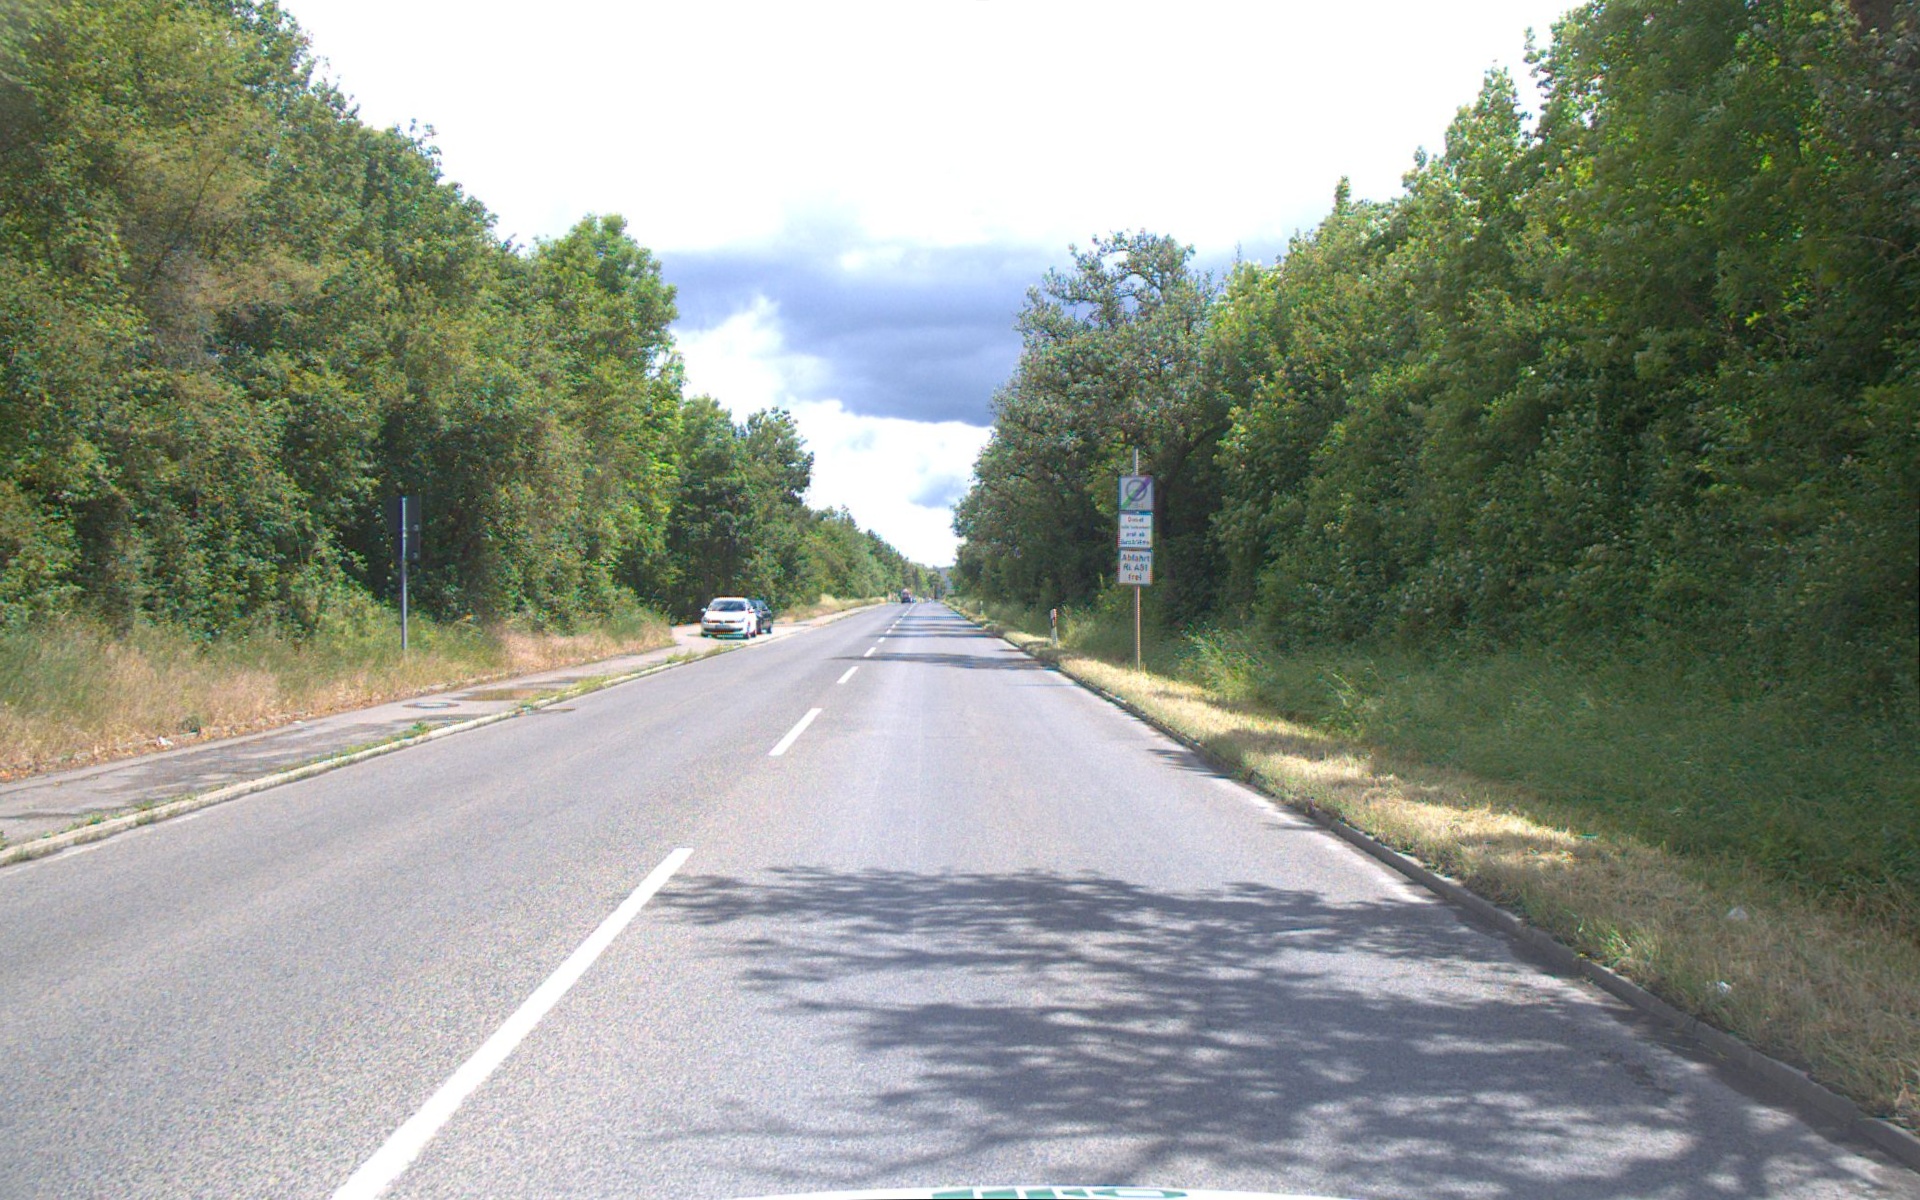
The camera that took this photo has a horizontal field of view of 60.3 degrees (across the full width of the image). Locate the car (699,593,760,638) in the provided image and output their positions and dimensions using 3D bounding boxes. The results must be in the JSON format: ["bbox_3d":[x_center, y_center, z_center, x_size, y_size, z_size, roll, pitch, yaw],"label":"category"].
[{"bbox_3d":[-8.459,0.580,60.967,1.762,1.570,3.953,-1,-1,-1],"label":"car"}]

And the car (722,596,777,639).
[{"bbox_3d":[-8.728,0.695,68.745,1.761,1.653,3.955,-1,1,0],"label":"car"}]
